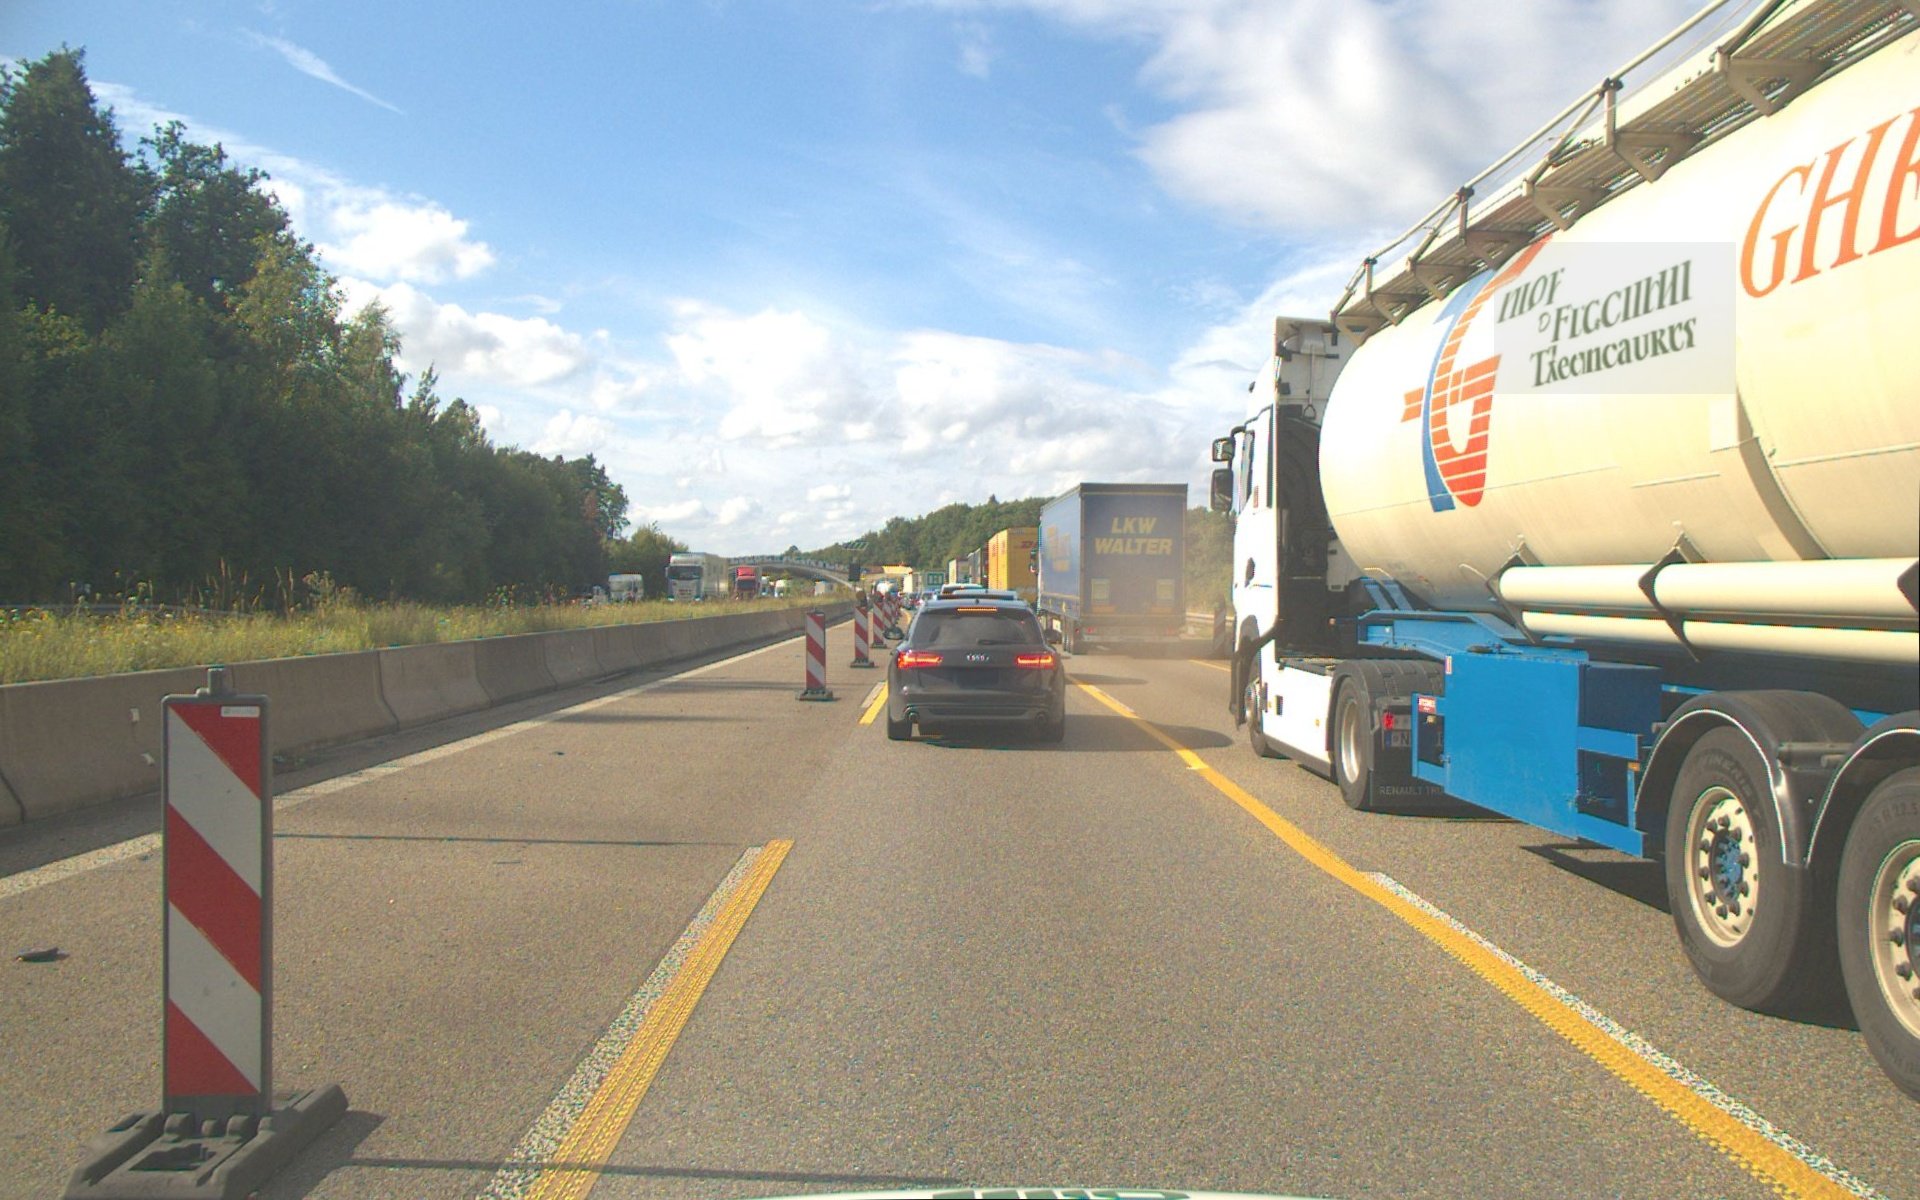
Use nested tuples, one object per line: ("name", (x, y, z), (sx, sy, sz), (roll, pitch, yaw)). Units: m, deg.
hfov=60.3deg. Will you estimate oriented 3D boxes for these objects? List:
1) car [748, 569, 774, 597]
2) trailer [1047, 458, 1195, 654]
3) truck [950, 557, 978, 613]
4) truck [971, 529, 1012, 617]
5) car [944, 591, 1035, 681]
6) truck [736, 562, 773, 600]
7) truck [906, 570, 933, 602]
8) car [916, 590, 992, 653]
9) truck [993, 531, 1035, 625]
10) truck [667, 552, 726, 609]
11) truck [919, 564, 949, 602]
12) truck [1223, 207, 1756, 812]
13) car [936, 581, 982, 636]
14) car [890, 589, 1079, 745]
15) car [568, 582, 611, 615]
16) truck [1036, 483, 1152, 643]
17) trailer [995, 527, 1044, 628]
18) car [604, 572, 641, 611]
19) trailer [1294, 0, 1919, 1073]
("car", (-25.311, -2.124, 210.166), (2.436, 3.429, 7.450), (1, 0, -1))
("trailer", (4.004, -1.010, 43.525), (2.748, 4.490, 10.431), (1, 0, 0))
("truck", (0.273, -1.159, 131.404), (2.094, 4.332, 7.070), (1, 0, -1))
("truck", (1.838, -1.587, 100.235), (1.953, 5.000, 9.559), (1, 0, -2))
("car", (0.478, 0.608, 29.263), (1.493, 1.464, 3.284), (1, 0, 0))
("truck", (-22.706, -2.102, 183.000), (2.743, 4.062, 10.184), (1, 0, 0))
("truck", (-5.572, -1.918, 225.374), (3.238, 4.248, 9.695), (1, 0, -3))
("car", (-0.149, 0.501, 39.906), (1.716, 1.421, 3.607), (1, 0, 0))
("truck", (2.336, -0.932, 72.884), (1.577, 3.965, 4.071), (1, 0, -1))
("truck", (-19.600, -1.362, 123.830), (2.726, 4.054, 10.860), (1, 0, -1))
("truck", (-3.121, -1.949, 194.775), (3.238, 4.248, 9.697), (0, 0, -2))
("truck", (4.043, -0.599, 14.064), (2.604, 4.041, 5.778), (1, 0, -1))
("car", (-0.043, 0.309, 58.392), (1.549, 1.869, 3.111), (1, 0, 0))
("car", (0.226, 0.654, 17.944), (1.811, 1.489, 3.999), (0, 0, 0))
("car", (-24.340, -0.081, 108.763), (1.953, 2.049, 3.999), (1, 0, 0))
("truck", (3.940, -1.022, 50.260), (2.749, 4.446, 7.790), (1, 0, -1))
("trailer", (2.433, -0.888, 68.743), (1.584, 3.987, 6.487), (1, 0, -1))
("car", (-24.208, -0.574, 118.627), (2.208, 2.689, 5.011), (1, 0, -8))
("trailer", (4.094, -0.615, 7.205), (2.590, 4.012, 12.596), (1, 0, 0))
